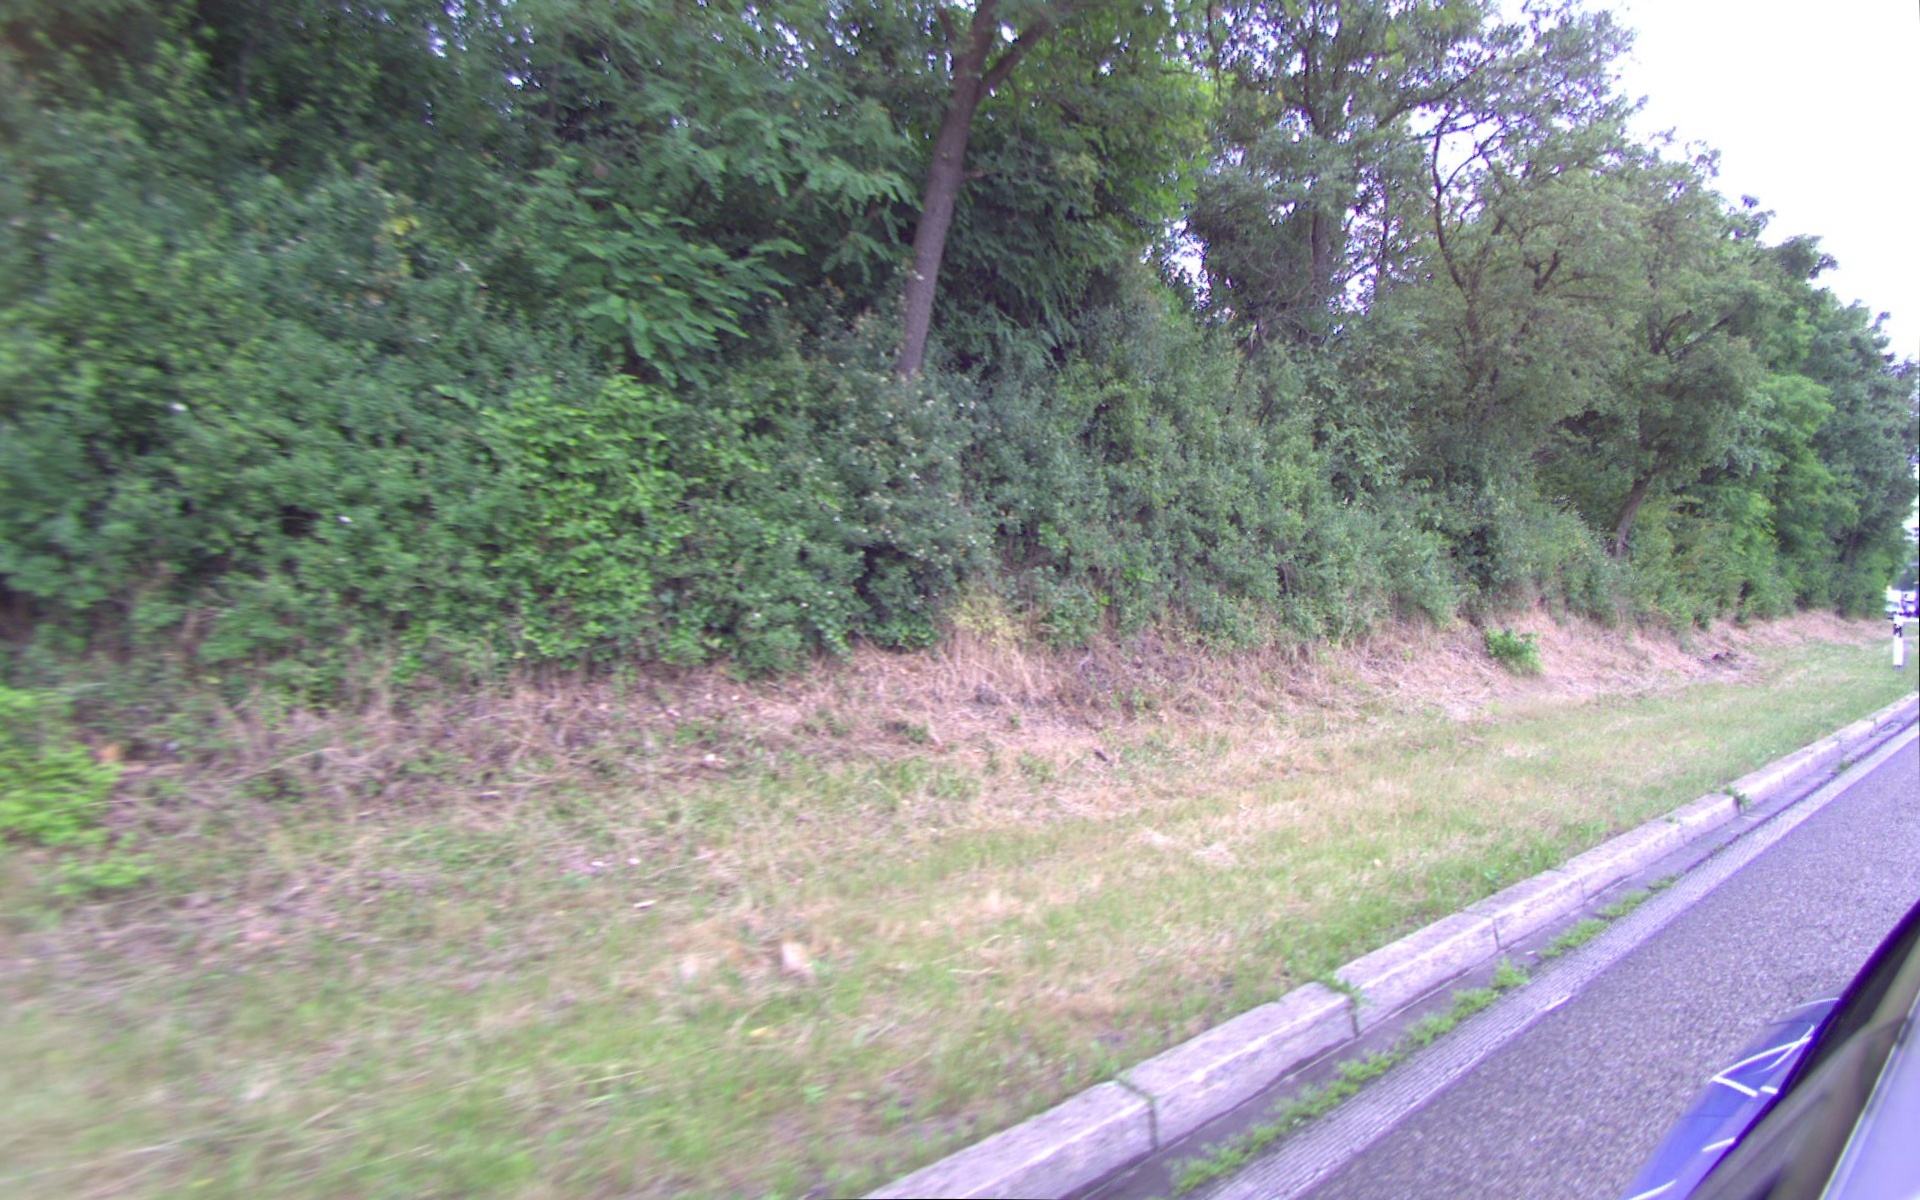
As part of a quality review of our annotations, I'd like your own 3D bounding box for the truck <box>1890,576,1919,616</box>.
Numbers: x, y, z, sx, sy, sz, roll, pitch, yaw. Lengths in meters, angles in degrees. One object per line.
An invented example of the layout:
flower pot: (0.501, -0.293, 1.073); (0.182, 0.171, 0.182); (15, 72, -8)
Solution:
truck: (99.770, -0.406, 106.503); (2.244, 4.023, 6.535); (1, 0, 38)
